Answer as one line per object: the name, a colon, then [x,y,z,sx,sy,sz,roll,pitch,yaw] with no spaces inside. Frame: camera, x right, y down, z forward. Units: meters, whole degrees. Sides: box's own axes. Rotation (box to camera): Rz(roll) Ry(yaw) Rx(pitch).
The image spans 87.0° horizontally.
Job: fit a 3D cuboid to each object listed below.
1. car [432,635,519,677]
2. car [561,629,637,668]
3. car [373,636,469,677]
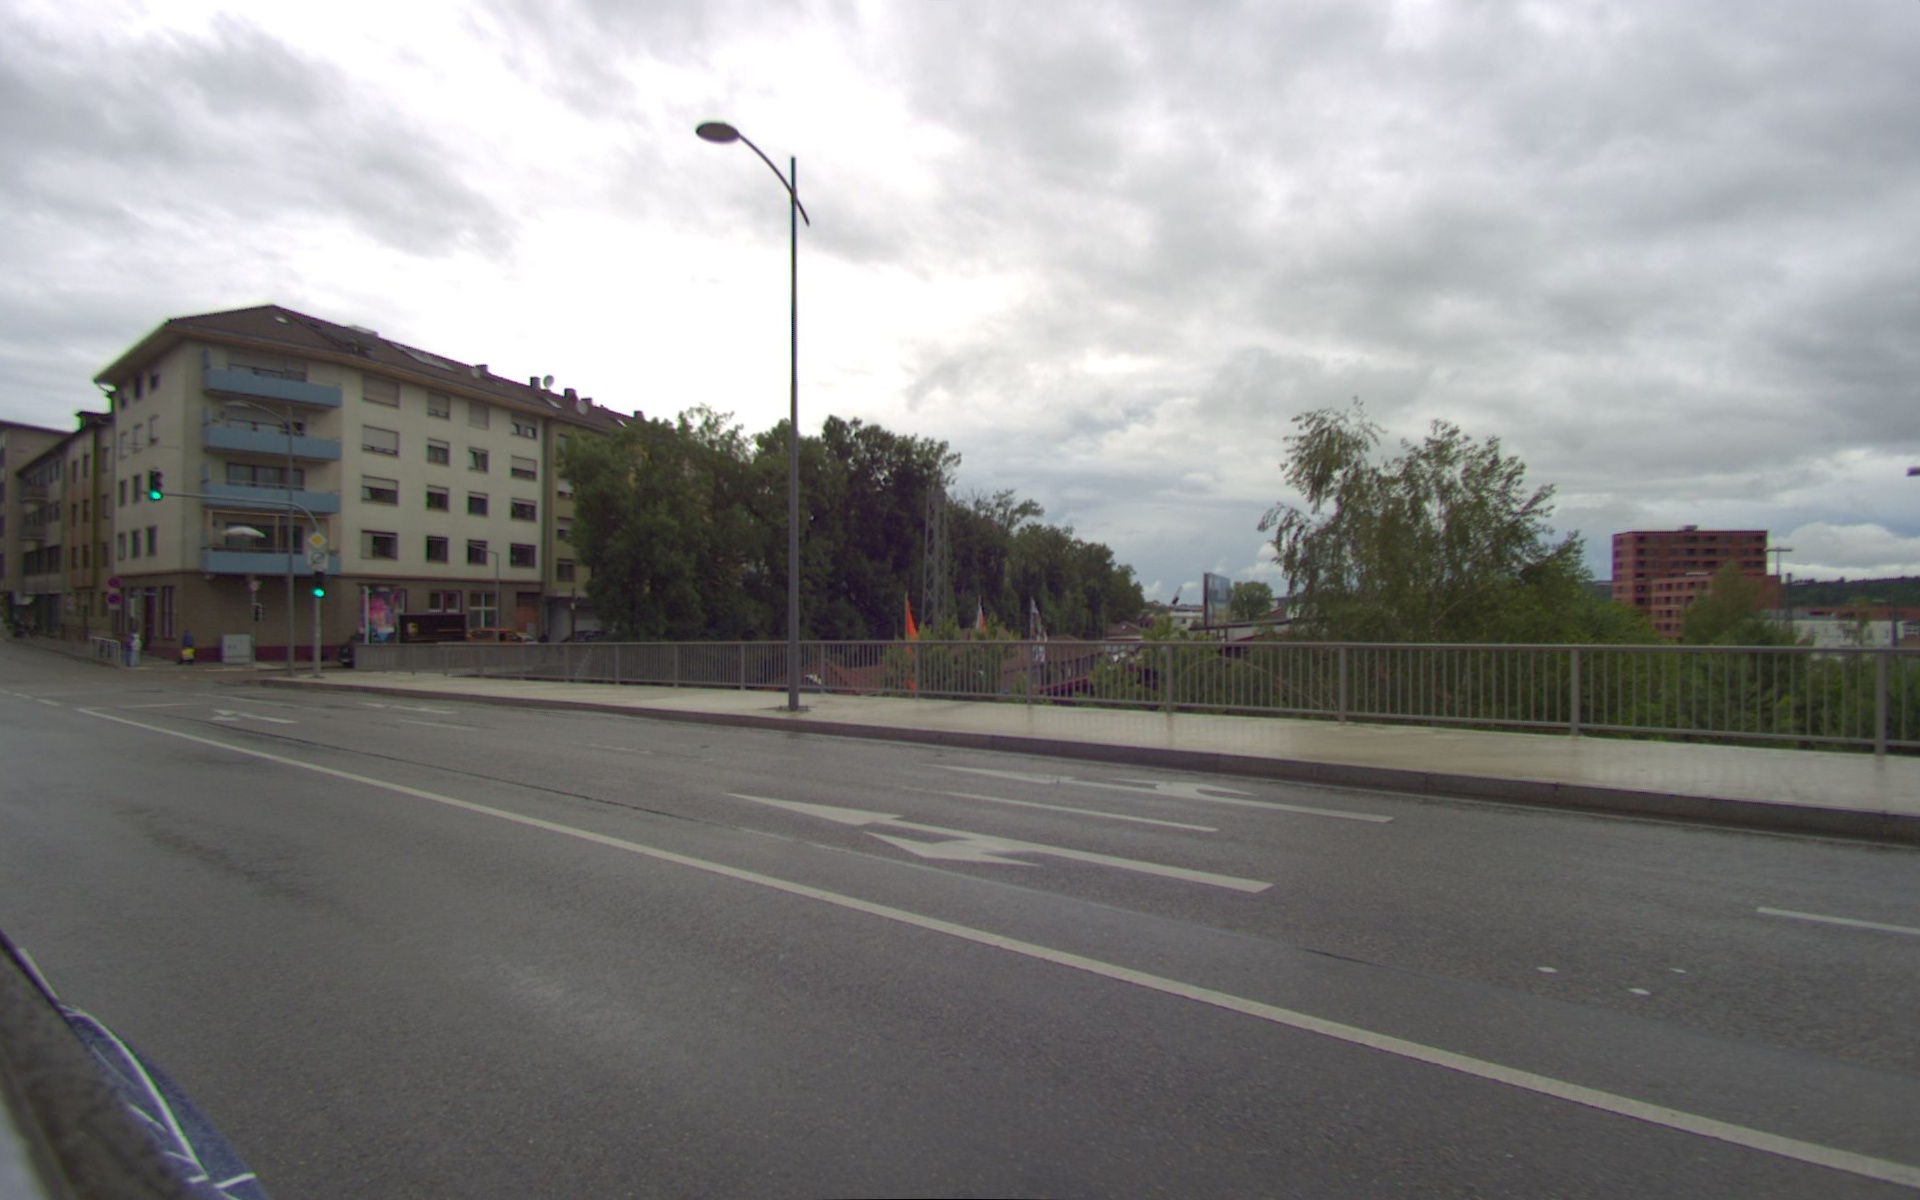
car: [-26.325,3.009,55.173,2.112,2.029,4.340,-1,0,11]
car: [-20.207,2.688,56.803,2.112,2.029,4.340,-1,0,11]
car: [-29.444,3.053,55.416,2.119,2.029,4.326,-1,0,20]
